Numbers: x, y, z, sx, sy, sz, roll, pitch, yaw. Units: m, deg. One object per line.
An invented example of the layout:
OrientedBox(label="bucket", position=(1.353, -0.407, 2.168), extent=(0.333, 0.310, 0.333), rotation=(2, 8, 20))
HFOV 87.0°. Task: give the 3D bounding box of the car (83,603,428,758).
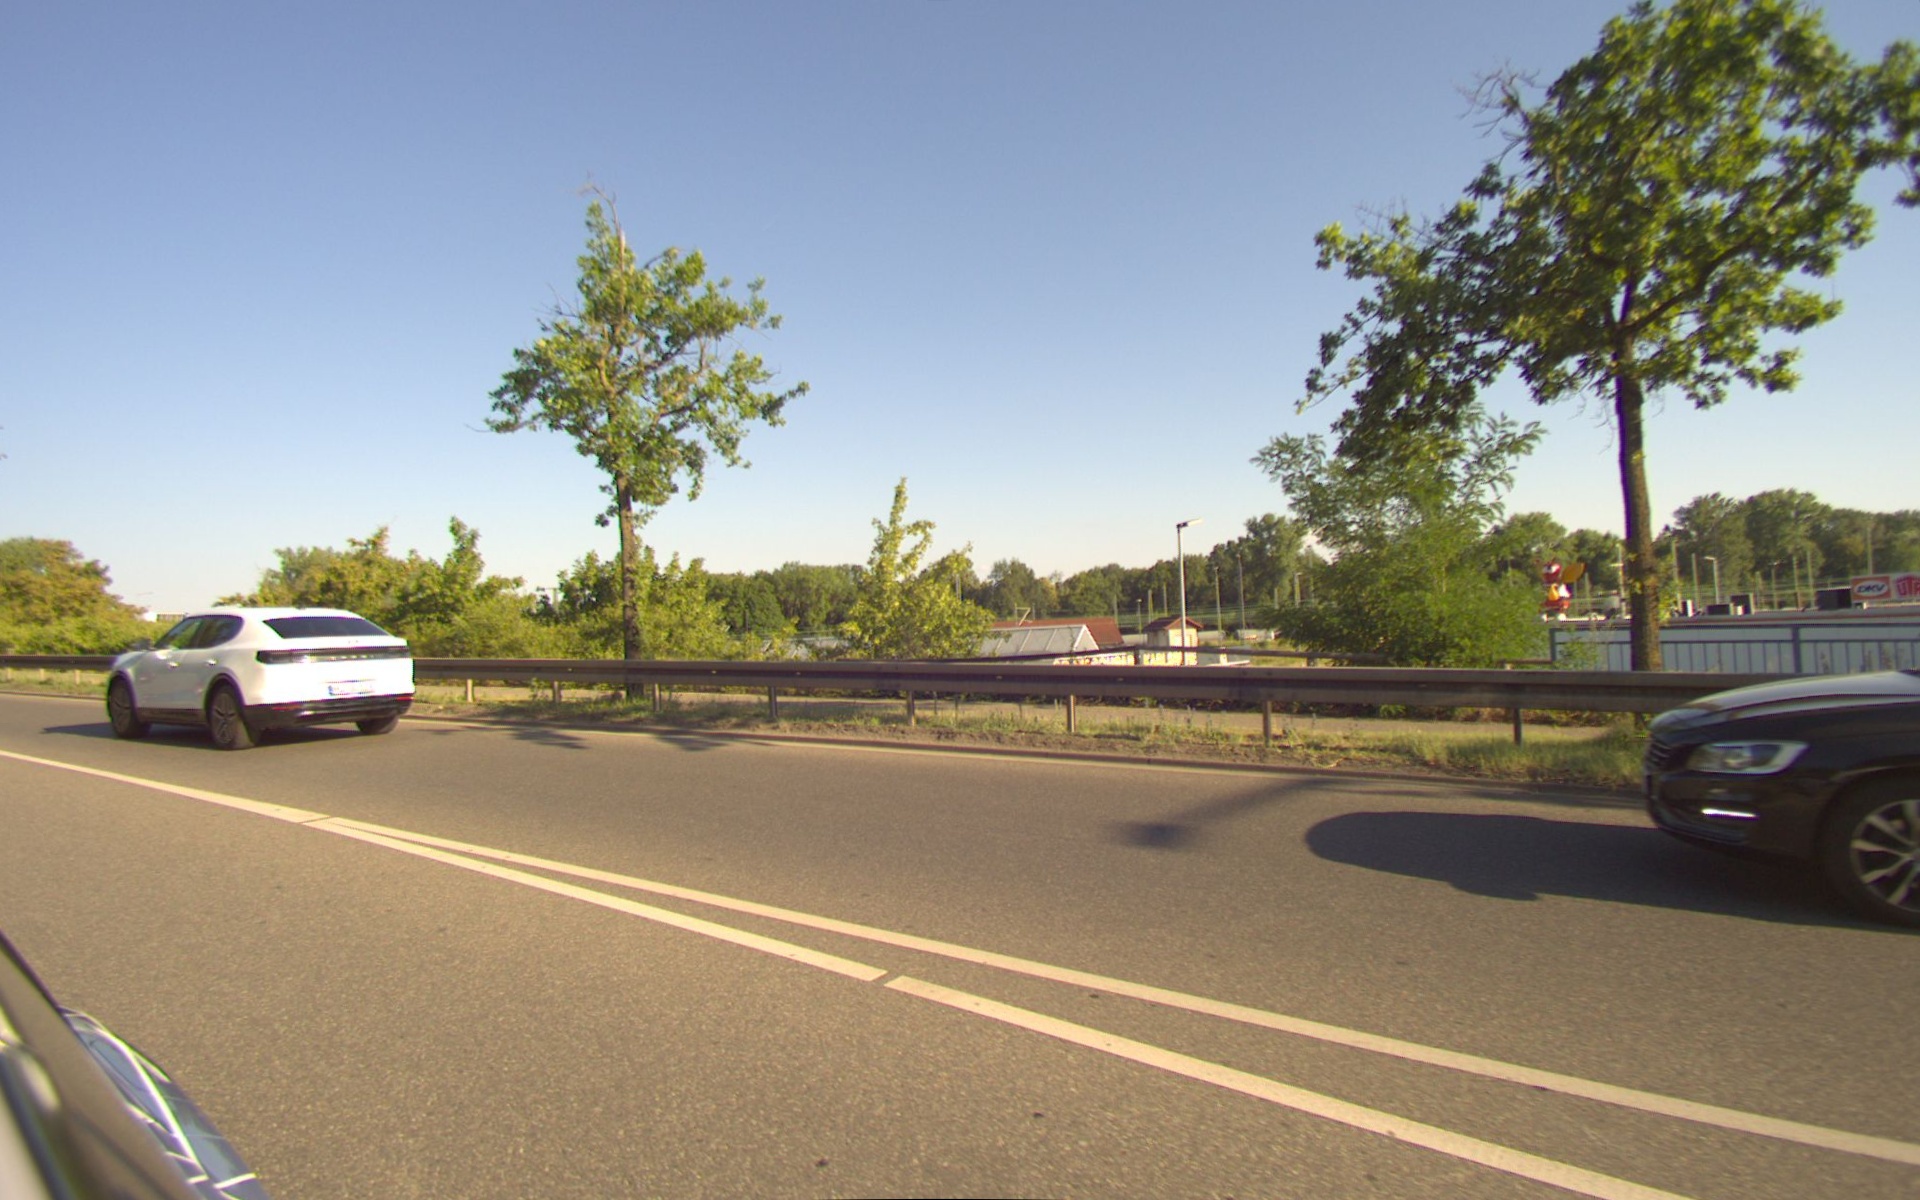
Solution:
OrientedBox(label="car", position=(-8.792, 0.881, 12.515), extent=(4.632, 1.601, 1.814), rotation=(-1, -1, 32))

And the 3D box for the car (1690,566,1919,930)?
OrientedBox(label="car", position=(5.725, 0.562, 4.035), extent=(4.367, 1.477, 1.759), rotation=(-1, -1, 31))
